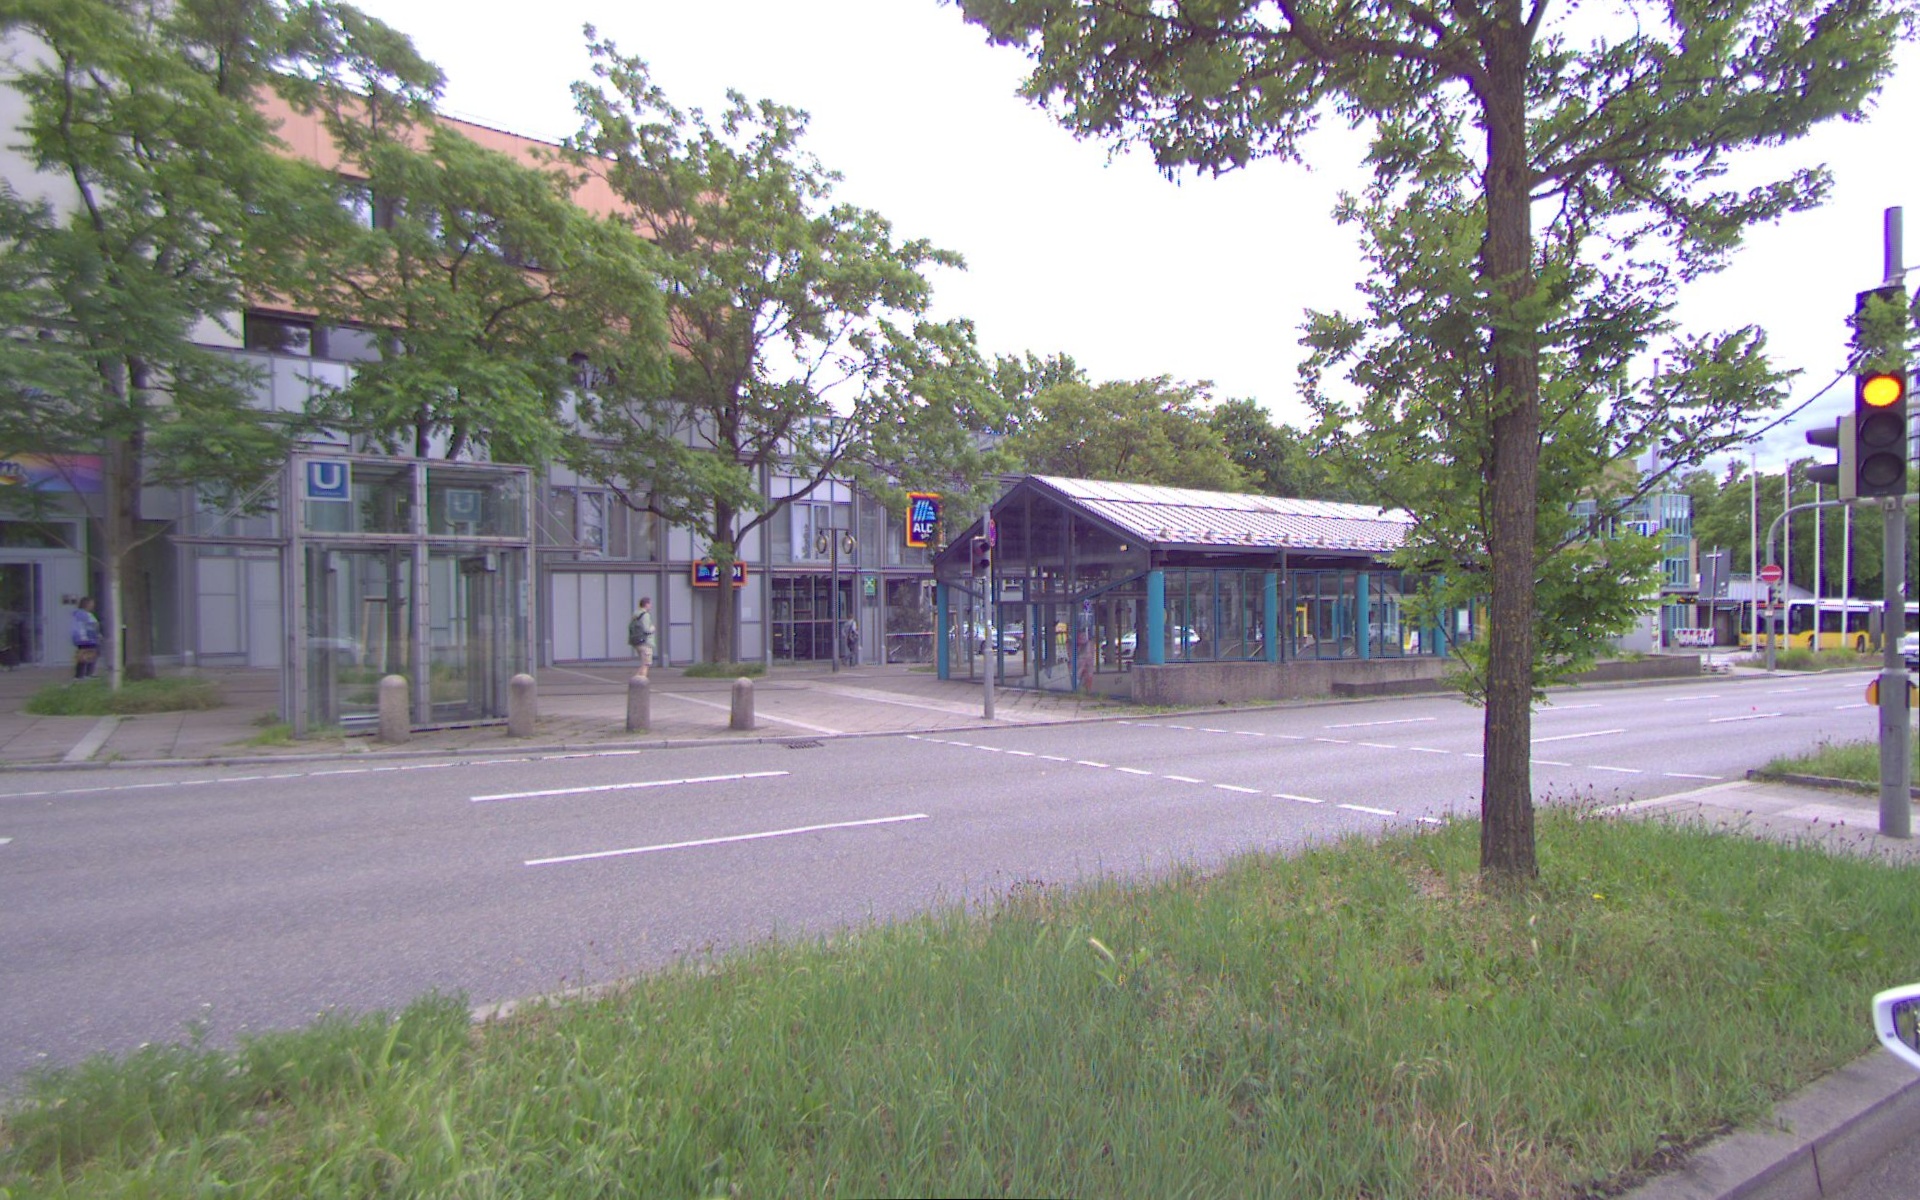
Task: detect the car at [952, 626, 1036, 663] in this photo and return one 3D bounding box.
[{"bbox_3d":[1.654,2.193,50.381,1.769,1.710,4.838,1,-1,-33],"label":"car"}]

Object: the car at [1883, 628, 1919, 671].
[{"bbox_3d":[37.552,1.912,39.168,3.316,1.599,1.673,1,-1,-36],"label":"car"}]

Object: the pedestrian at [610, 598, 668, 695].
[{"bbox_3d":[-6.263,0.896,19.618,0.530,1.857,0.916,0,-1,44],"label":"pedestrian"}]

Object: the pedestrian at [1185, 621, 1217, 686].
[{"bbox_3d":[6.702,1.474,27.917,0.749,1.786,0.525,1,-1,-38],"label":"pedestrian"}]

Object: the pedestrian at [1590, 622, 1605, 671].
[{"bbox_3d":[21.001,1.523,33.084,0.412,1.612,0.356,0,-1,31],"label":"pedestrian"}]

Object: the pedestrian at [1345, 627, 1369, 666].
[{"bbox_3d":[16.617,1.940,42.090,0.652,1.591,0.632,2,0,-24],"label":"pedestrian"}]

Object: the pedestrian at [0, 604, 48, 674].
[{"bbox_3d":[-19.223,0.791,20.589,0.689,1.393,0.578,1,-1,-37],"label":"pedestrian"}]

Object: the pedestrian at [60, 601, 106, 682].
[{"bbox_3d":[-16.779,0.785,19.227,0.617,1.523,0.562,1,-1,-40],"label":"pedestrian"}]

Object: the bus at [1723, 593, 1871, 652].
[{"bbox_3d":[49.927,1.378,59.829,10.036,3.293,2.980,1,-1,-26],"label":"bus"}]

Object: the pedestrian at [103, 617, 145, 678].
[{"bbox_3d":[-16.756,0.951,20.147,0.617,1.197,0.417,1,-1,-40],"label":"pedestrian"}]

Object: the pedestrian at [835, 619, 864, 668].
[{"bbox_3d":[-3.498,1.363,31.716,0.748,1.499,0.525,1,-1,-36],"label":"pedestrian"}]

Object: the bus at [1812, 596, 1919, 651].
[{"bbox_3d":[57.924,1.540,63.769,7.771,3.313,2.980,1,-1,-26],"label":"bus"}]
